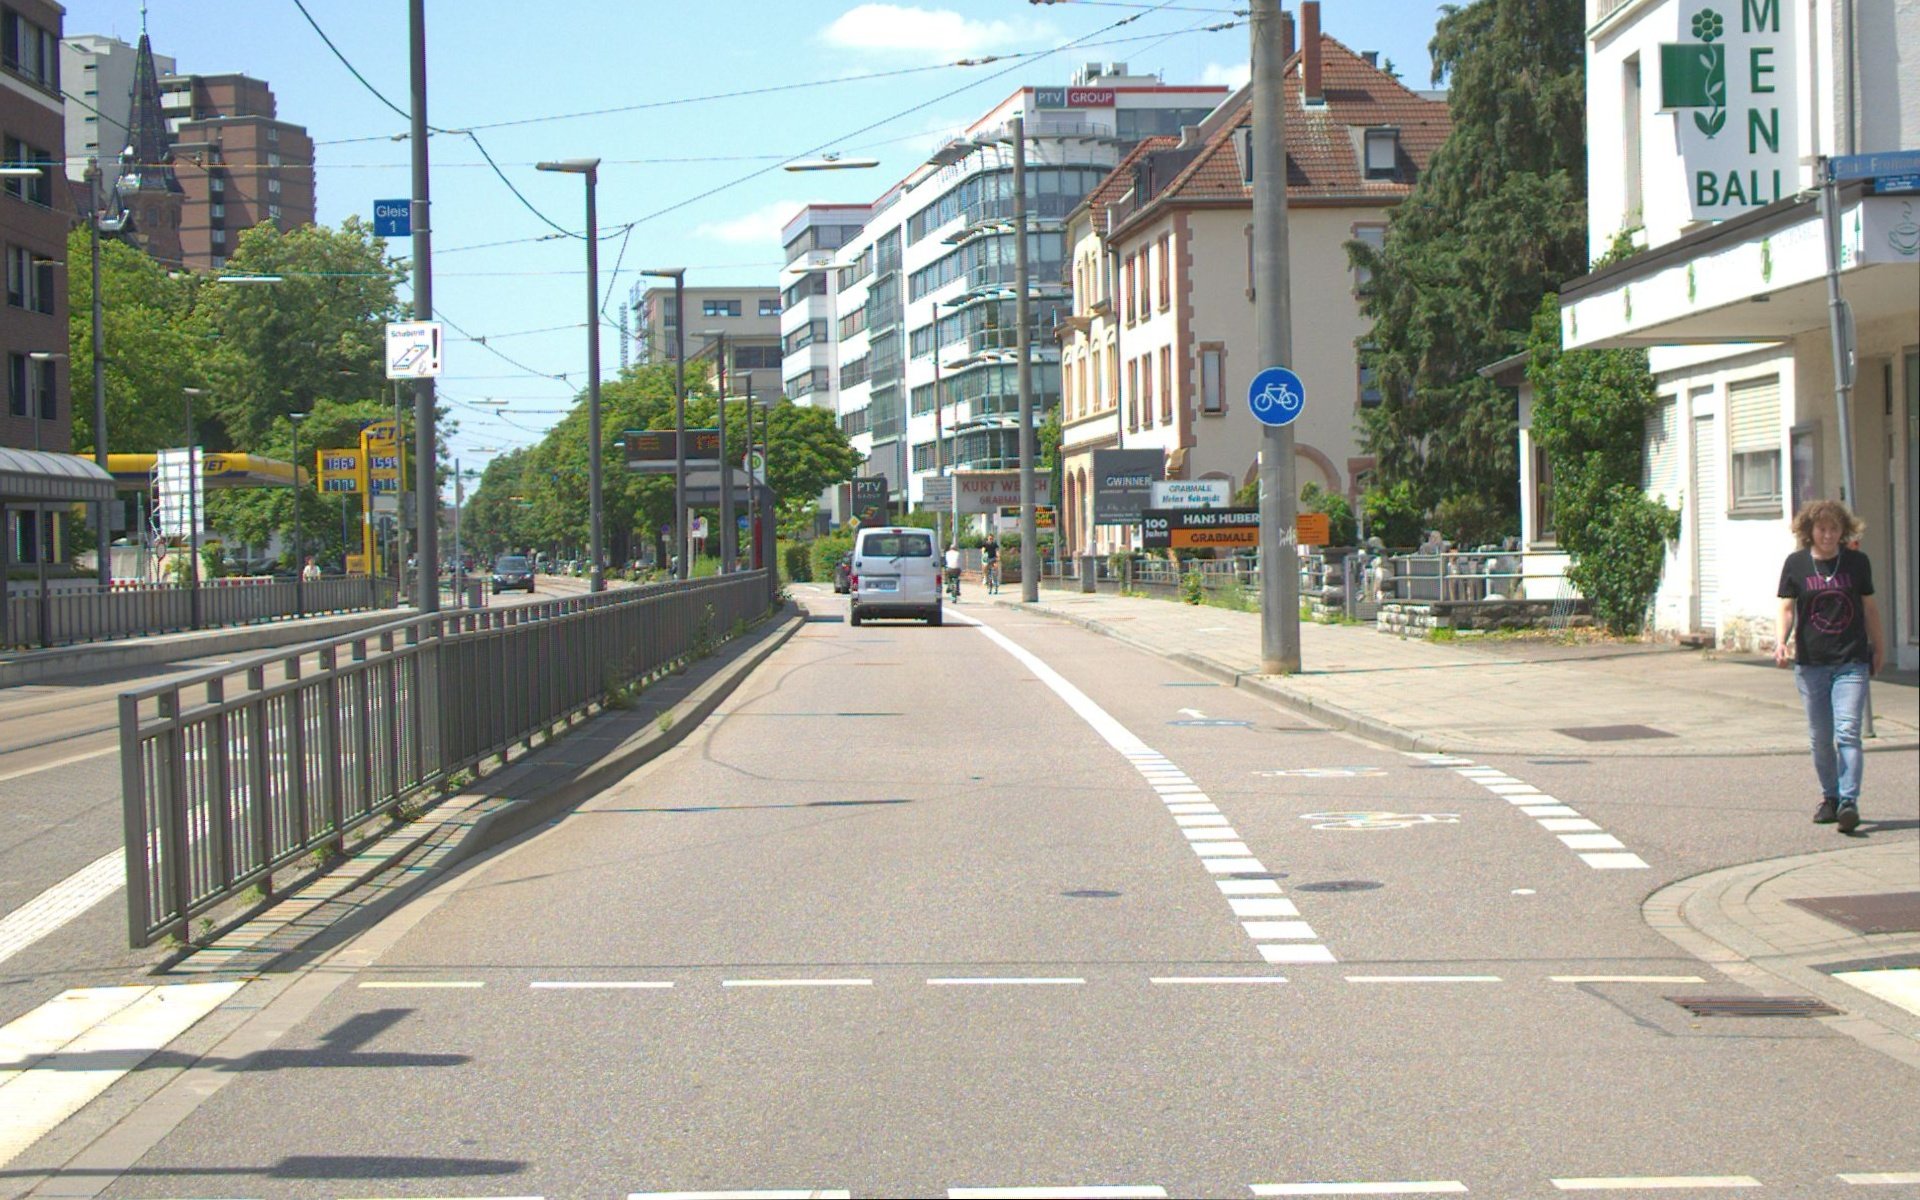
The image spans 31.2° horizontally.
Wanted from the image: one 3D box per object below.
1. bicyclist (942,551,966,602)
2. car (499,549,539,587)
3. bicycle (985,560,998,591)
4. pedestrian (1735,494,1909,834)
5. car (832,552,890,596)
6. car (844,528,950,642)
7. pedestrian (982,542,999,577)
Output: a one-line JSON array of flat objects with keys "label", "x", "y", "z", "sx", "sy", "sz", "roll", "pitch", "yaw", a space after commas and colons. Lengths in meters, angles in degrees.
[{"label": "bicyclist", "x": -0.166, "y": -0.659, "z": 95.794, "sx": 0.591, "sy": 1.392, "sz": 0.842, "roll": -1, "pitch": 1, "yaw": -5}, {"label": "car", "x": -19.873, "y": -1.434, "z": 154.996, "sx": 1.698, "sy": 1.610, "sz": 3.759, "roll": -2, "pitch": 0, "yaw": -7}, {"label": "bicycle", "x": 0.979, "y": -0.769, "z": 107.843, "sx": 0.356, "sy": 0.937, "sz": 1.317, "roll": -3, "pitch": 0, "yaw": 0}, {"label": "pedestrian", "x": 4.099, "y": 0.296, "z": 16.390, "sx": 0.577, "sy": 1.551, "sz": 0.786, "roll": -3, "pitch": 0, "yaw": 2}, {"label": "car", "x": -3.994, "y": -1.059, "z": 137.589, "sx": 1.863, "sy": 1.681, "sz": 5.001, "roll": -2, "pitch": 1, "yaw": -6}, {"label": "car", "x": -1.167, "y": -0.319, "z": 65.200, "sx": 1.752, "sy": 2.006, "sz": 4.000, "roll": -2, "pitch": 2, "yaw": 2}, {"label": "pedestrian", "x": 0.953, "y": -1.266, "z": 107.835, "sx": 0.483, "sy": 1.050, "sz": 0.537, "roll": -3, "pitch": 0, "yaw": 0}]
